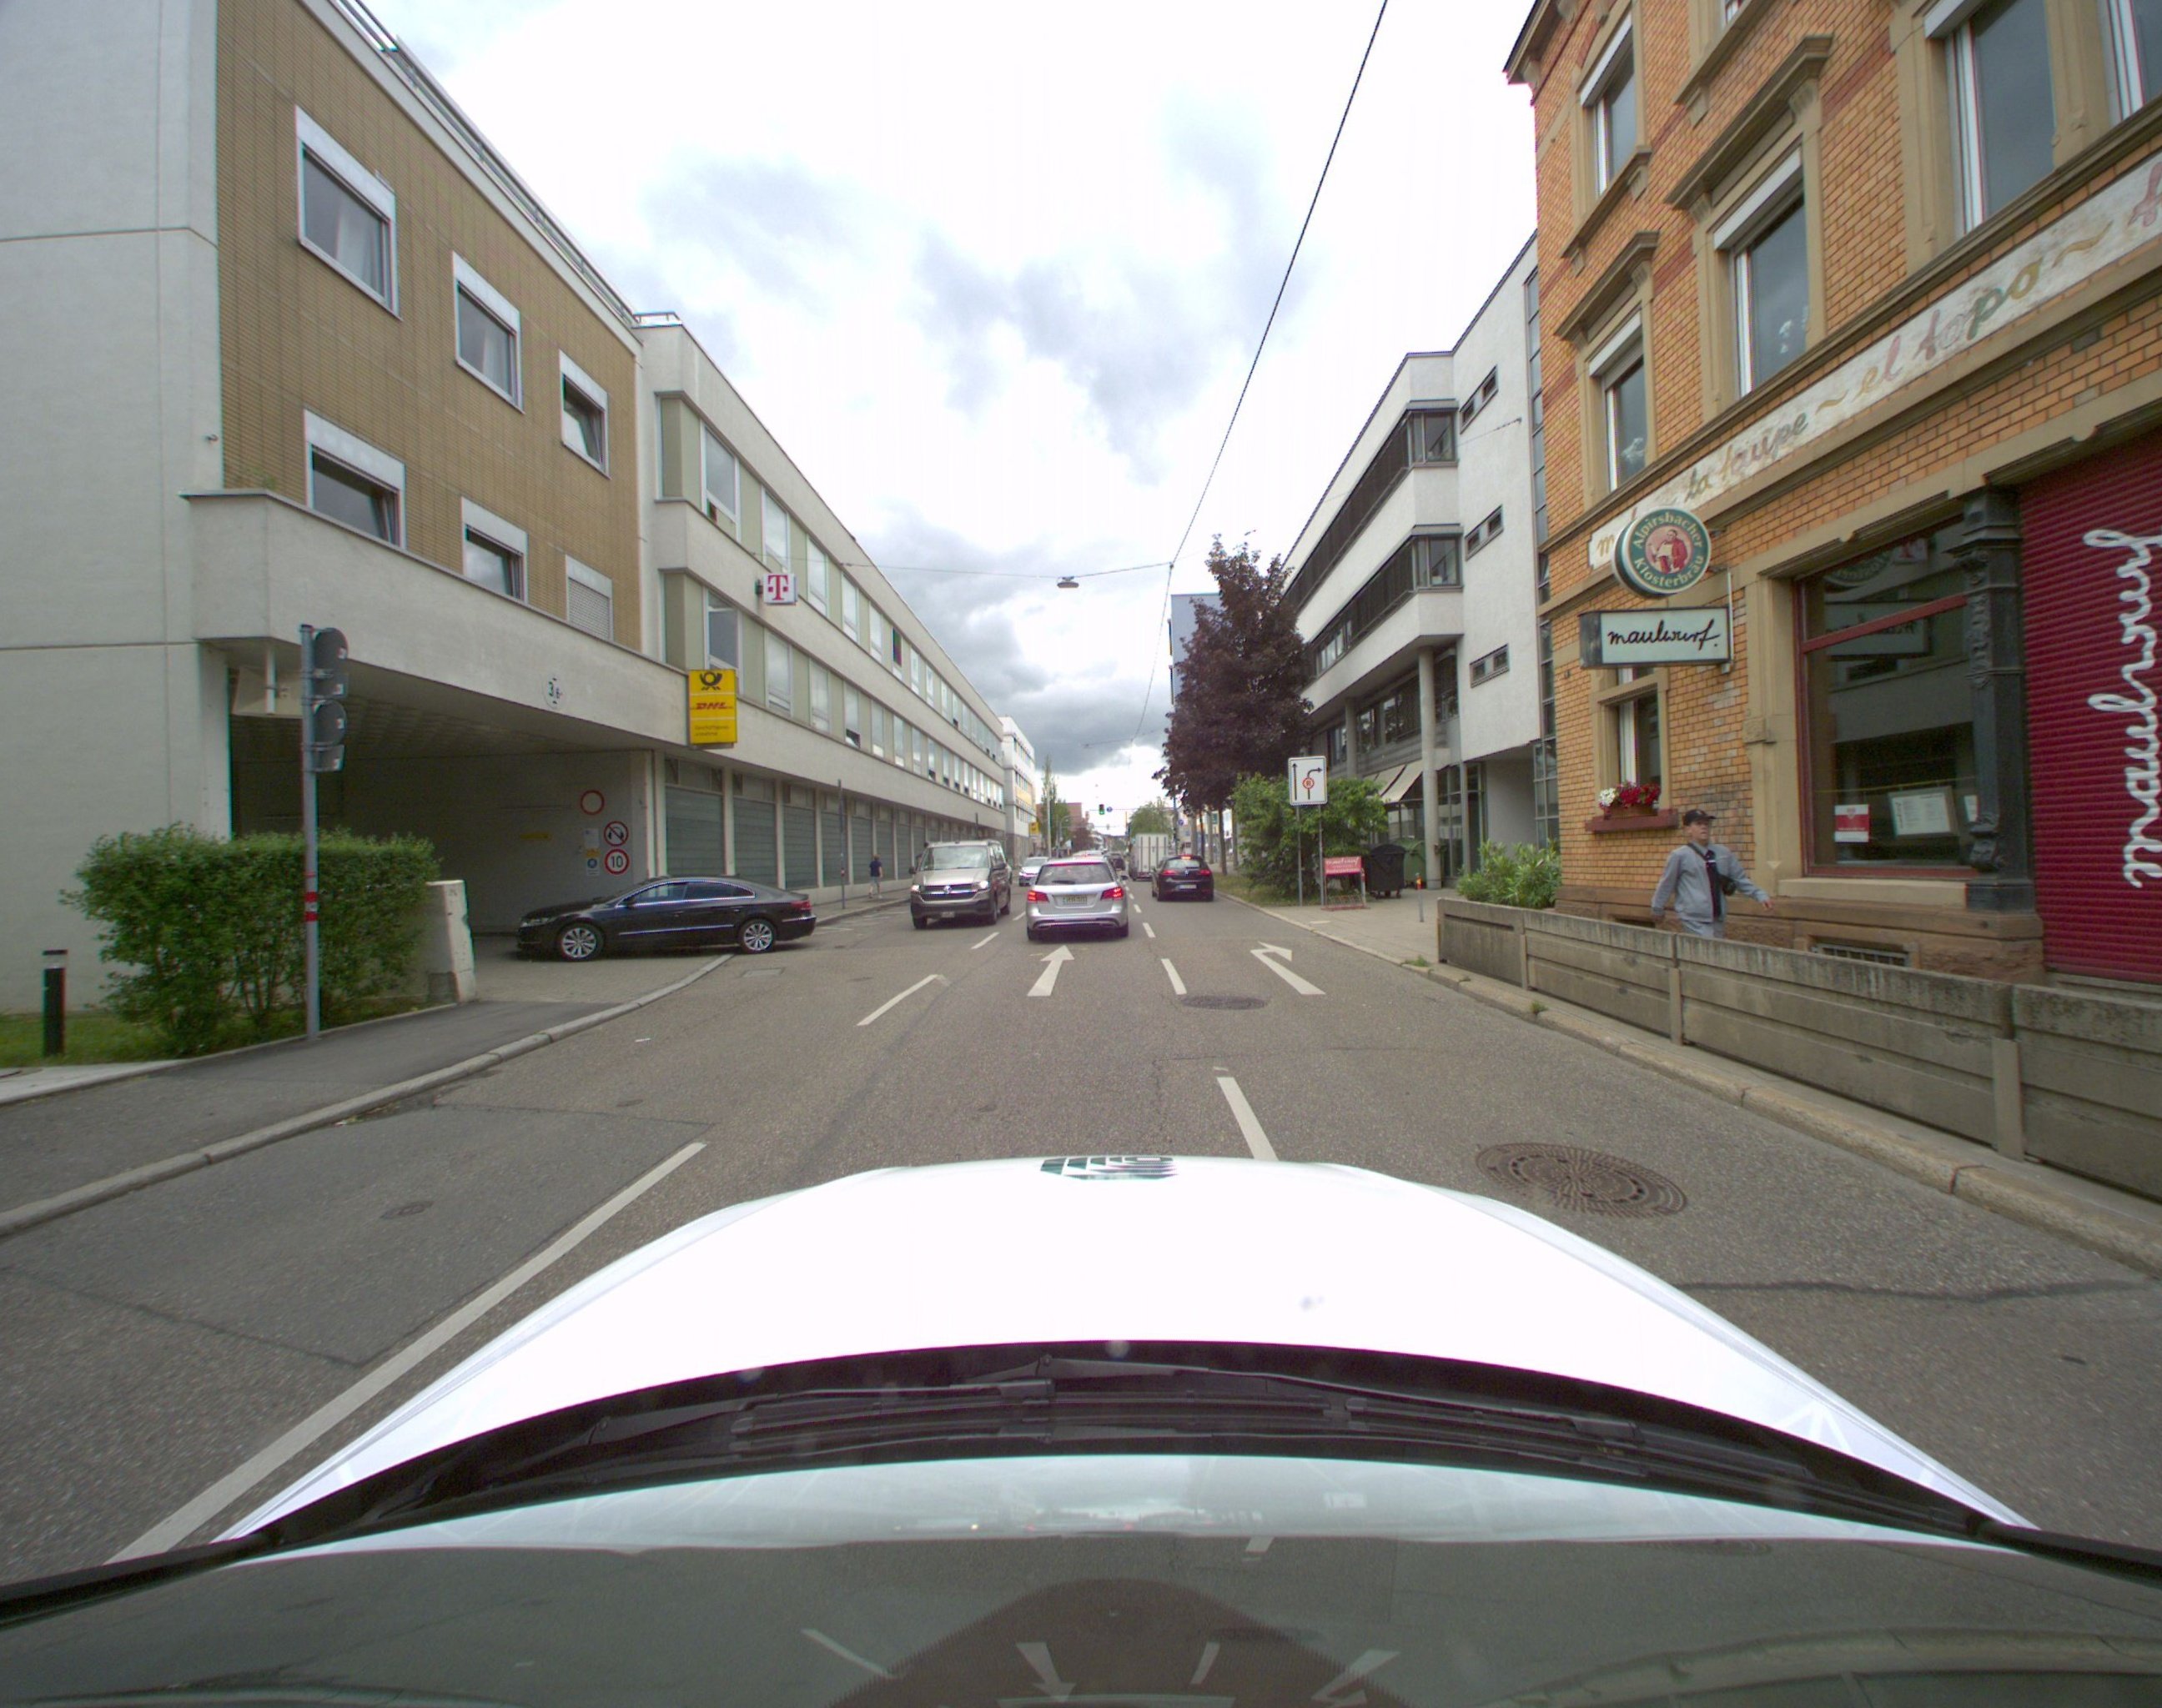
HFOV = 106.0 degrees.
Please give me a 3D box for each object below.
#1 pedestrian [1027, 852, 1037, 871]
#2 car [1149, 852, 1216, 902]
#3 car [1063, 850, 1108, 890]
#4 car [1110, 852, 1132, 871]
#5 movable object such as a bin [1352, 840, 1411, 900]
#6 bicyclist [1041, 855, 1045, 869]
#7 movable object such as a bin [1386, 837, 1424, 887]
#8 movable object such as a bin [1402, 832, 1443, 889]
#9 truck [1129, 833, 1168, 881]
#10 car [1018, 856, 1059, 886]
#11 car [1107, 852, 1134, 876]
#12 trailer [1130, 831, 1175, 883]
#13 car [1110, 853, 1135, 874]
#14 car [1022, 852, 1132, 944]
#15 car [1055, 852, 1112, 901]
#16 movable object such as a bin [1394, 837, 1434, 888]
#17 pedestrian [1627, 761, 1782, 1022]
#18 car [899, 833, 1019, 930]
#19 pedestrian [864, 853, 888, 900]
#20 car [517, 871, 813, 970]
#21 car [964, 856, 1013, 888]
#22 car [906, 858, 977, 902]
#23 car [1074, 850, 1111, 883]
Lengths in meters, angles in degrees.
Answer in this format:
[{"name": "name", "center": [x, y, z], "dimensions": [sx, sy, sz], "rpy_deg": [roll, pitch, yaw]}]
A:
[{"name": "pedestrian", "center": [-4.868, 0.708, 81.120], "dimensions": [0.915, 1.869, 0.783], "rpy_deg": [-2, 0, 1]}, {"name": "car", "center": [3.179, 0.672, 26.235], "dimensions": [1.759, 1.433, 3.830], "rpy_deg": [-2, 0, 2]}, {"name": "car", "center": [0.230, 0.638, 34.669], "dimensions": [1.797, 1.601, 3.739], "rpy_deg": [-1, 0, 1]}, {"name": "car", "center": [3.391, 0.628, 69.342], "dimensions": [1.797, 1.601, 3.739], "rpy_deg": [-1, 0, 1]}, {"name": "movable object such as a bin", "center": [7.954, 0.415, 21.641], "dimensions": [0.940, 1.470, 1.445], "rpy_deg": [-4, 0, -1]}, {"name": "bicyclist", "center": [-4.731, 0.951, 100.561], "dimensions": [0.443, 1.697, 0.556], "rpy_deg": [0, -1, 1]}, {"name": "movable object such as a bin", "center": [10.240, 0.258, 25.729], "dimensions": [0.817, 1.504, 0.732], "rpy_deg": [-4, -1, 3]}, {"name": "movable object such as a bin", "center": [10.145, 0.195, 24.218], "dimensions": [0.817, 1.589, 0.732], "rpy_deg": [-4, -1, 3]}, {"name": "truck", "center": [3.872, 0.142, 46.993], "dimensions": [1.986, 2.607, 3.261], "rpy_deg": [-2, 0, 1]}, {"name": "car", "center": [-2.167, 0.848, 42.377], "dimensions": [1.763, 1.413, 4.176], "rpy_deg": [-3, 0, 1]}, {"name": "car", "center": [2.730, 0.688, 56.574], "dimensions": [1.797, 1.601, 3.739], "rpy_deg": [-1, 0, 1]}, {"name": "trailer", "center": [3.805, 0.155, 44.194], "dimensions": [1.986, 2.607, 5.351], "rpy_deg": [-2, 0, 1]}, {"name": "car", "center": [3.182, 0.725, 63.086], "dimensions": [1.797, 1.601, 3.739], "rpy_deg": [-1, 0, 1]}, {"name": "car", "center": [-0.019, 0.740, 15.586], "dimensions": [1.797, 1.492, 3.739], "rpy_deg": [-2, 0, 1]}, {"name": "car", "center": [0.125, 0.724, 28.300], "dimensions": [1.797, 1.553, 3.739], "rpy_deg": [-2, 0, 1]}, {"name": "movable object such as a bin", "center": [10.206, 0.261, 24.972], "dimensions": [0.817, 1.490, 0.732], "rpy_deg": [-4, -1, 3]}, {"name": "pedestrian", "center": [5.077, 0.290, 6.673], "dimensions": [0.691, 2.013, 0.677], "rpy_deg": [-2, 0, 0]}, {"name": "car", "center": [-2.833, 0.595, 20.089], "dimensions": [1.986, 2.013, 4.904], "rpy_deg": [-3, 0, 1]}, {"name": "pedestrian", "center": [-7.904, 0.842, 31.390], "dimensions": [0.640, 1.769, 0.810], "rpy_deg": [-2, 0, 2]}, {"name": "car", "center": [-7.235, 1.072, 14.535], "dimensions": [4.424, 1.365, 1.769], "rpy_deg": [-2, 0, -28]}, {"name": "car", "center": [-4.891, 0.928, 43.731], "dimensions": [1.986, 1.517, 4.176], "rpy_deg": [-2, 0, 1]}, {"name": "car", "center": [-5.452, 0.975, 32.333], "dimensions": [1.906, 1.516, 4.176], "rpy_deg": [-3, 0, 1]}, {"name": "car", "center": [0.634, 0.607, 42.435], "dimensions": [1.797, 1.601, 3.739], "rpy_deg": [-1, 0, 1]}]
